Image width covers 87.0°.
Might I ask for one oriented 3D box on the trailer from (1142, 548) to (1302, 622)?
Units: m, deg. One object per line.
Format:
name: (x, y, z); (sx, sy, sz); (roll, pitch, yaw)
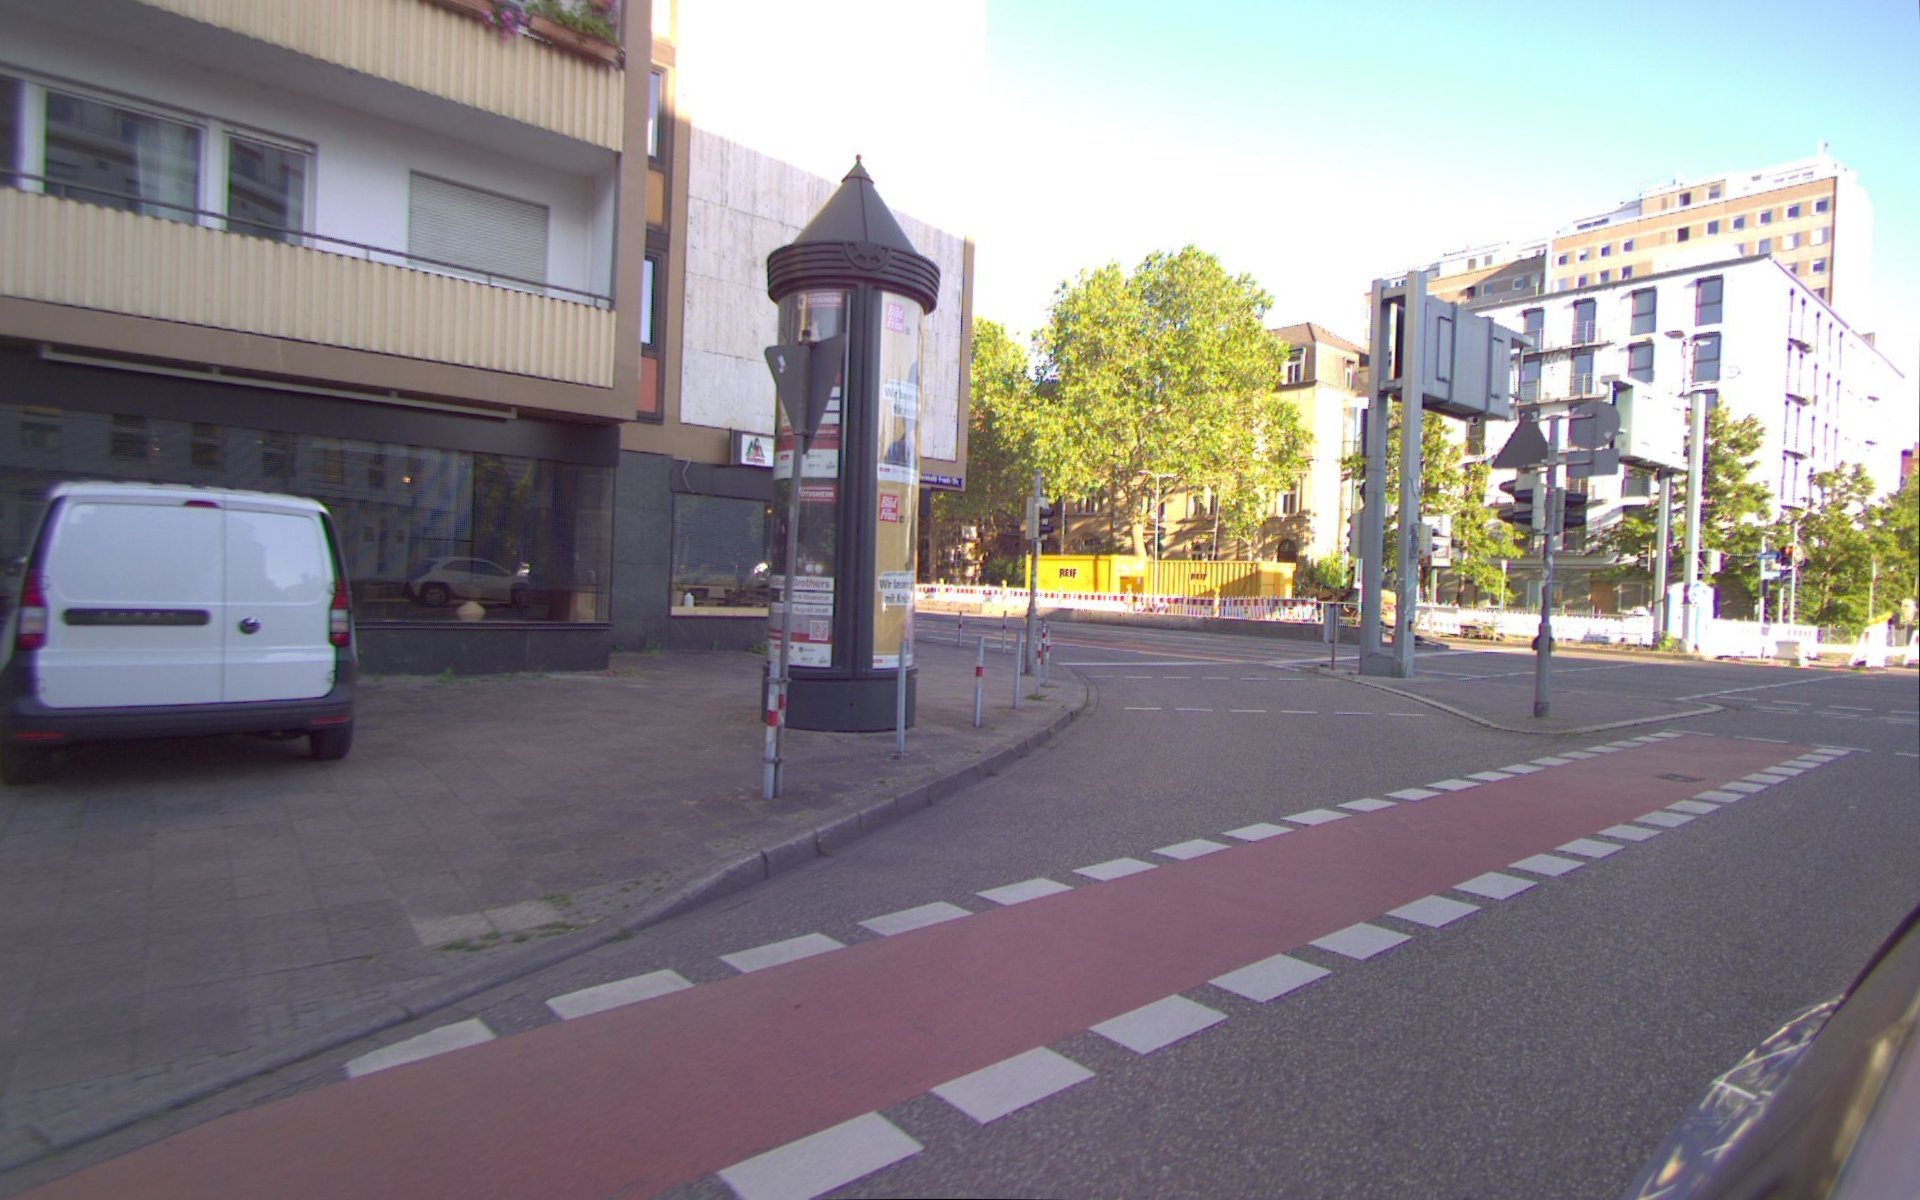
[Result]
trailer: (10.900, -0.676, 42.520); (2.496, 2.903, 6.123); (2, 1, -40)

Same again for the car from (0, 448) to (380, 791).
car: (-5.694, 0.051, 7.568); (1.827, 1.837, 4.100); (2, 1, -37)

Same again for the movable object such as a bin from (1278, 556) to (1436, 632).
movable object such as a bin: (14.692, -0.283, 37.763); (1.962, 2.626, 5.216); (2, 1, -35)

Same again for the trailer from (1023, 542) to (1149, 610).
trailer: (5.969, -1.176, 48.690); (2.362, 3.053, 6.129); (2, 1, -37)
